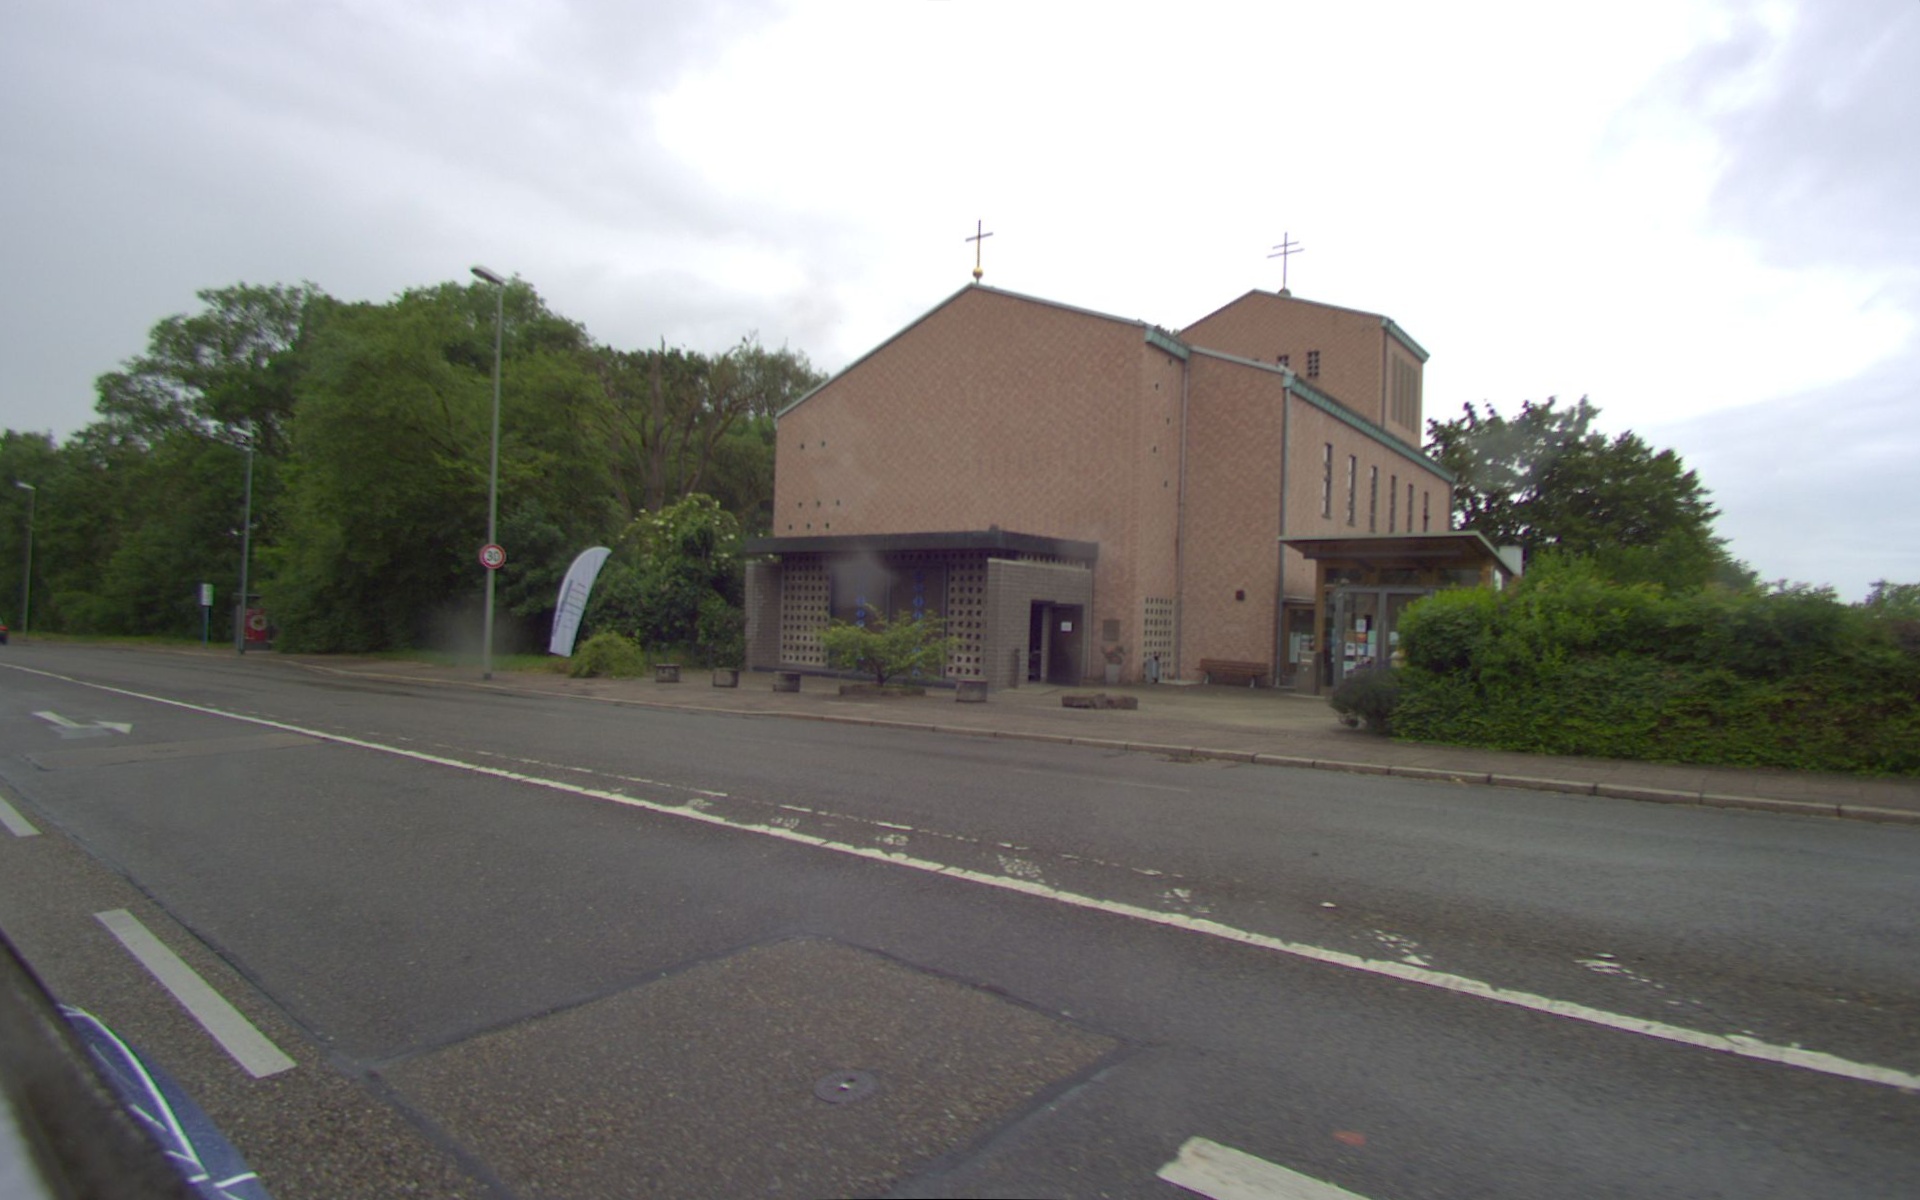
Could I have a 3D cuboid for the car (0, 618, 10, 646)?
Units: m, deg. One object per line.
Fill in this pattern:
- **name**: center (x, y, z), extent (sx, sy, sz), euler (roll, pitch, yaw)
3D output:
- **car**: center (-58.824, 1.881, 60.777), extent (4.311, 1.603, 1.890), euler (-1, -3, 38)
